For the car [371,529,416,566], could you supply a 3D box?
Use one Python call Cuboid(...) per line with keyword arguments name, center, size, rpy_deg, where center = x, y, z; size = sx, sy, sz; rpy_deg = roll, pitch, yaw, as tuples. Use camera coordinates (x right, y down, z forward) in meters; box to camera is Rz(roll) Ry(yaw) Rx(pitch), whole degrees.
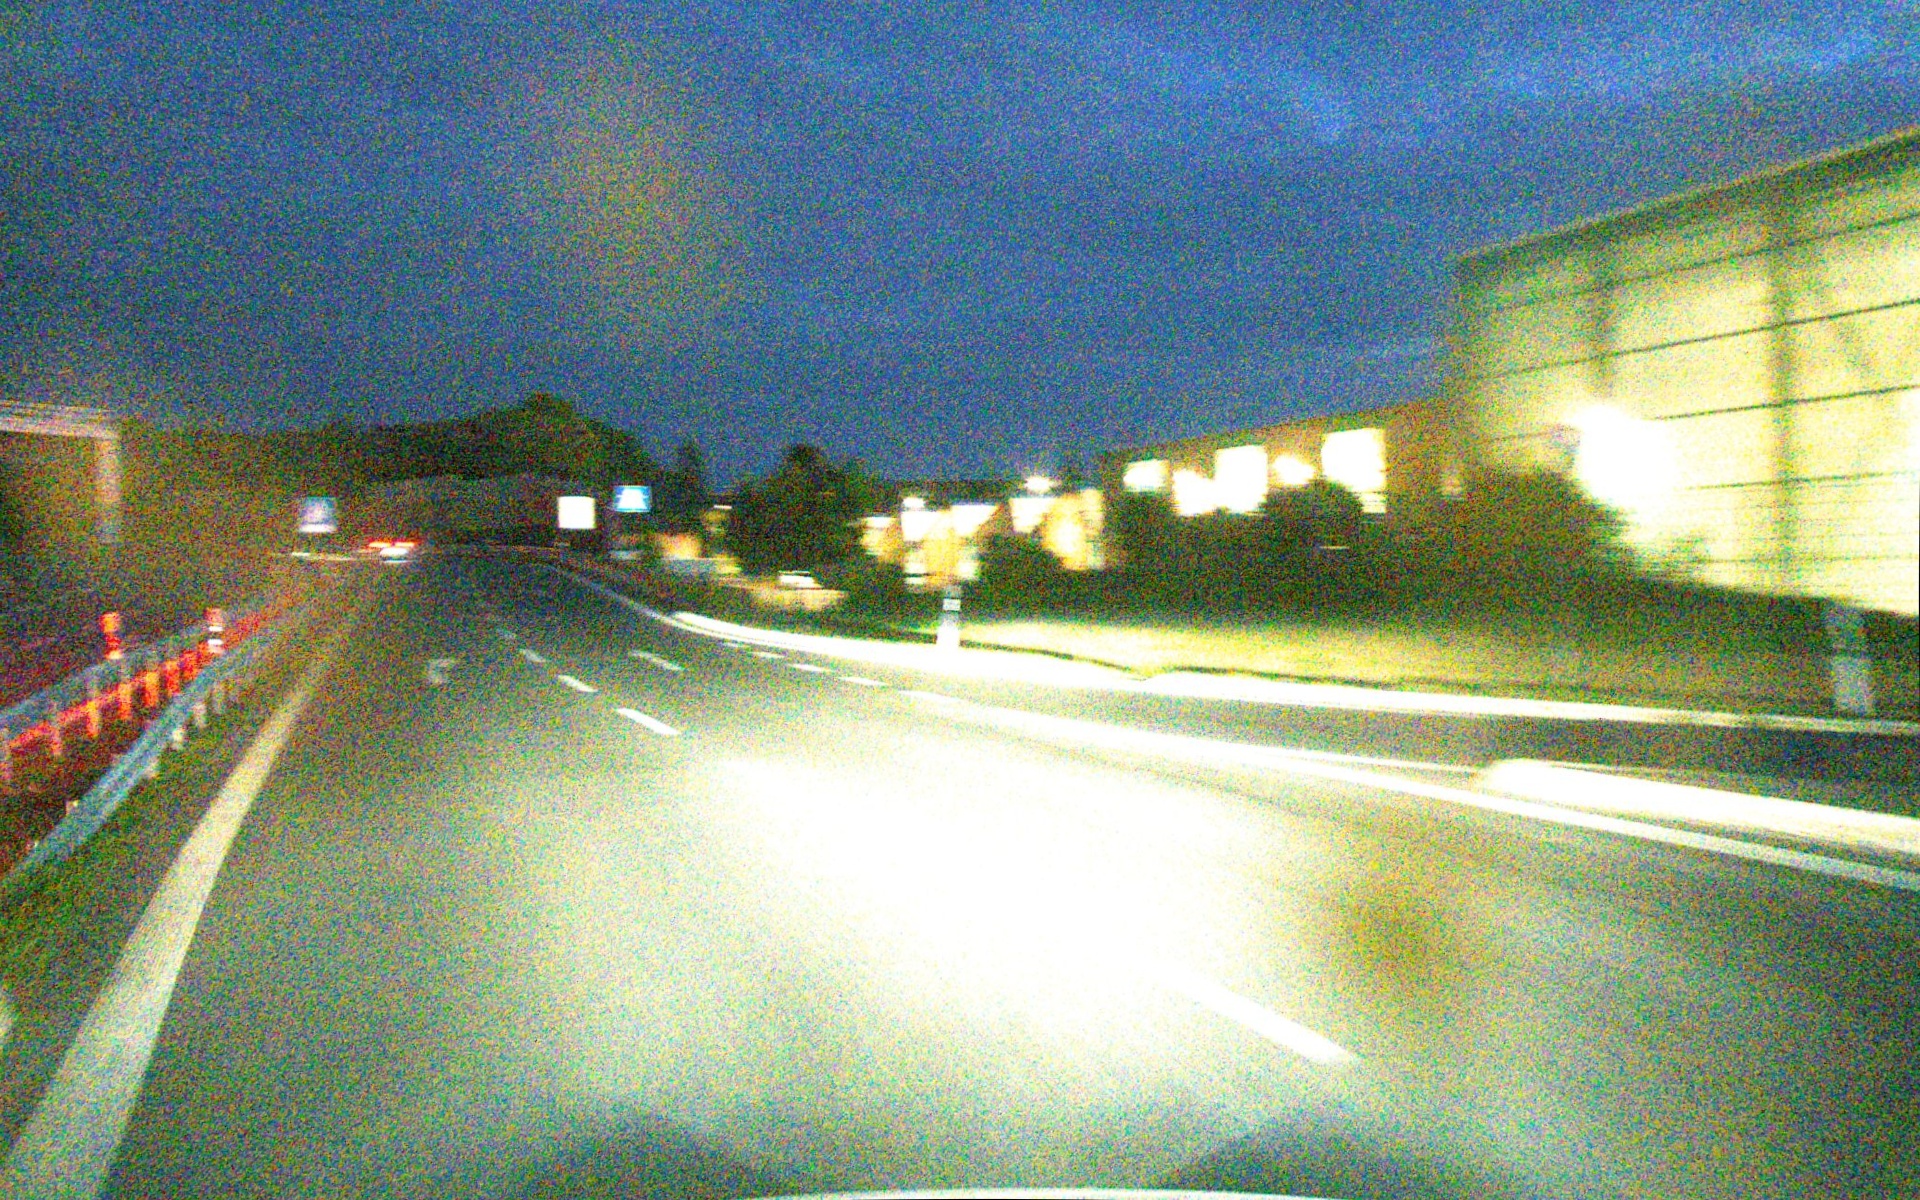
Cuboid(name="car", center=(-32.167, -2.967, 93.883), size=(1.969, 2.048, 3.968), rpy_deg=(0, 2, -25))
